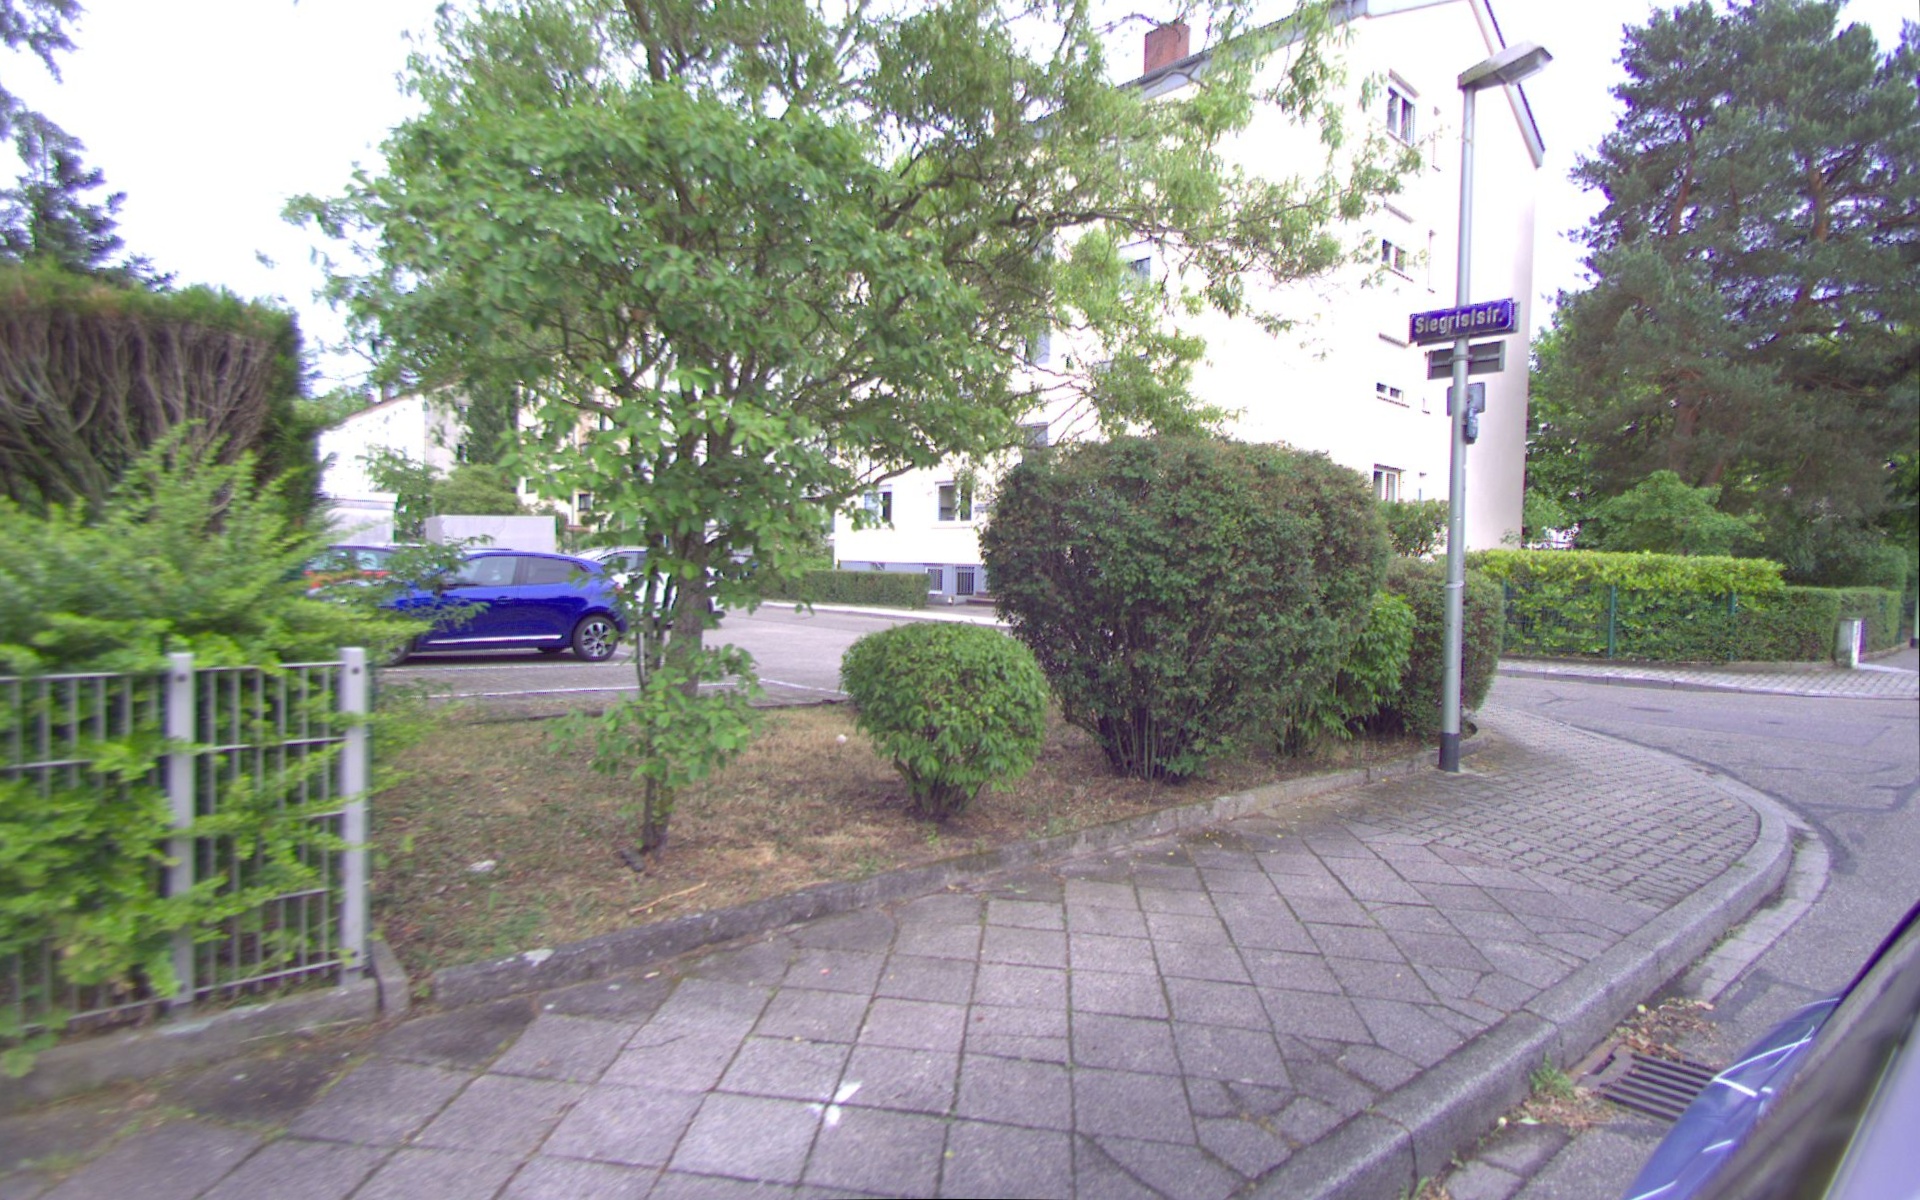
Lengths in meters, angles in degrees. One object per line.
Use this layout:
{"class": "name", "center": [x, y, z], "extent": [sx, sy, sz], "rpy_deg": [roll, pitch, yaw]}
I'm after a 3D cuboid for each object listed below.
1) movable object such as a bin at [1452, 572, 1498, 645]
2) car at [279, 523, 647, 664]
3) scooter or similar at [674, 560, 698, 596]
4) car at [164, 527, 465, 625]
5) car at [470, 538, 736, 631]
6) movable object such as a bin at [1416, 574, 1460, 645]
{"class": "movable object such as a bin", "center": [8.689, 0.139, 17.082], "extent": [0.498, 1.202, 0.514], "rpy_deg": [2, 1, -44]}
{"class": "car", "center": [-6.307, -0.112, 13.054], "extent": [3.845, 1.529, 2.023], "rpy_deg": [0, 2, -43]}
{"class": "scooter or similar", "center": [-9.546, -0.774, 35.225], "extent": [0.269, 1.226, 1.162], "rpy_deg": [0, 1, -43]}
{"class": "car", "center": [-10.397, -0.382, 16.440], "extent": [3.845, 1.398, 1.967], "rpy_deg": [0, 2, -43]}
{"class": "car", "center": [-6.852, -0.311, 19.706], "extent": [4.473, 1.608, 1.985], "rpy_deg": [0, 2, -42]}
{"class": "movable object such as a bin", "center": [8.249, 0.155, 17.463], "extent": [0.498, 1.202, 0.514], "rpy_deg": [0, 2, -44]}
